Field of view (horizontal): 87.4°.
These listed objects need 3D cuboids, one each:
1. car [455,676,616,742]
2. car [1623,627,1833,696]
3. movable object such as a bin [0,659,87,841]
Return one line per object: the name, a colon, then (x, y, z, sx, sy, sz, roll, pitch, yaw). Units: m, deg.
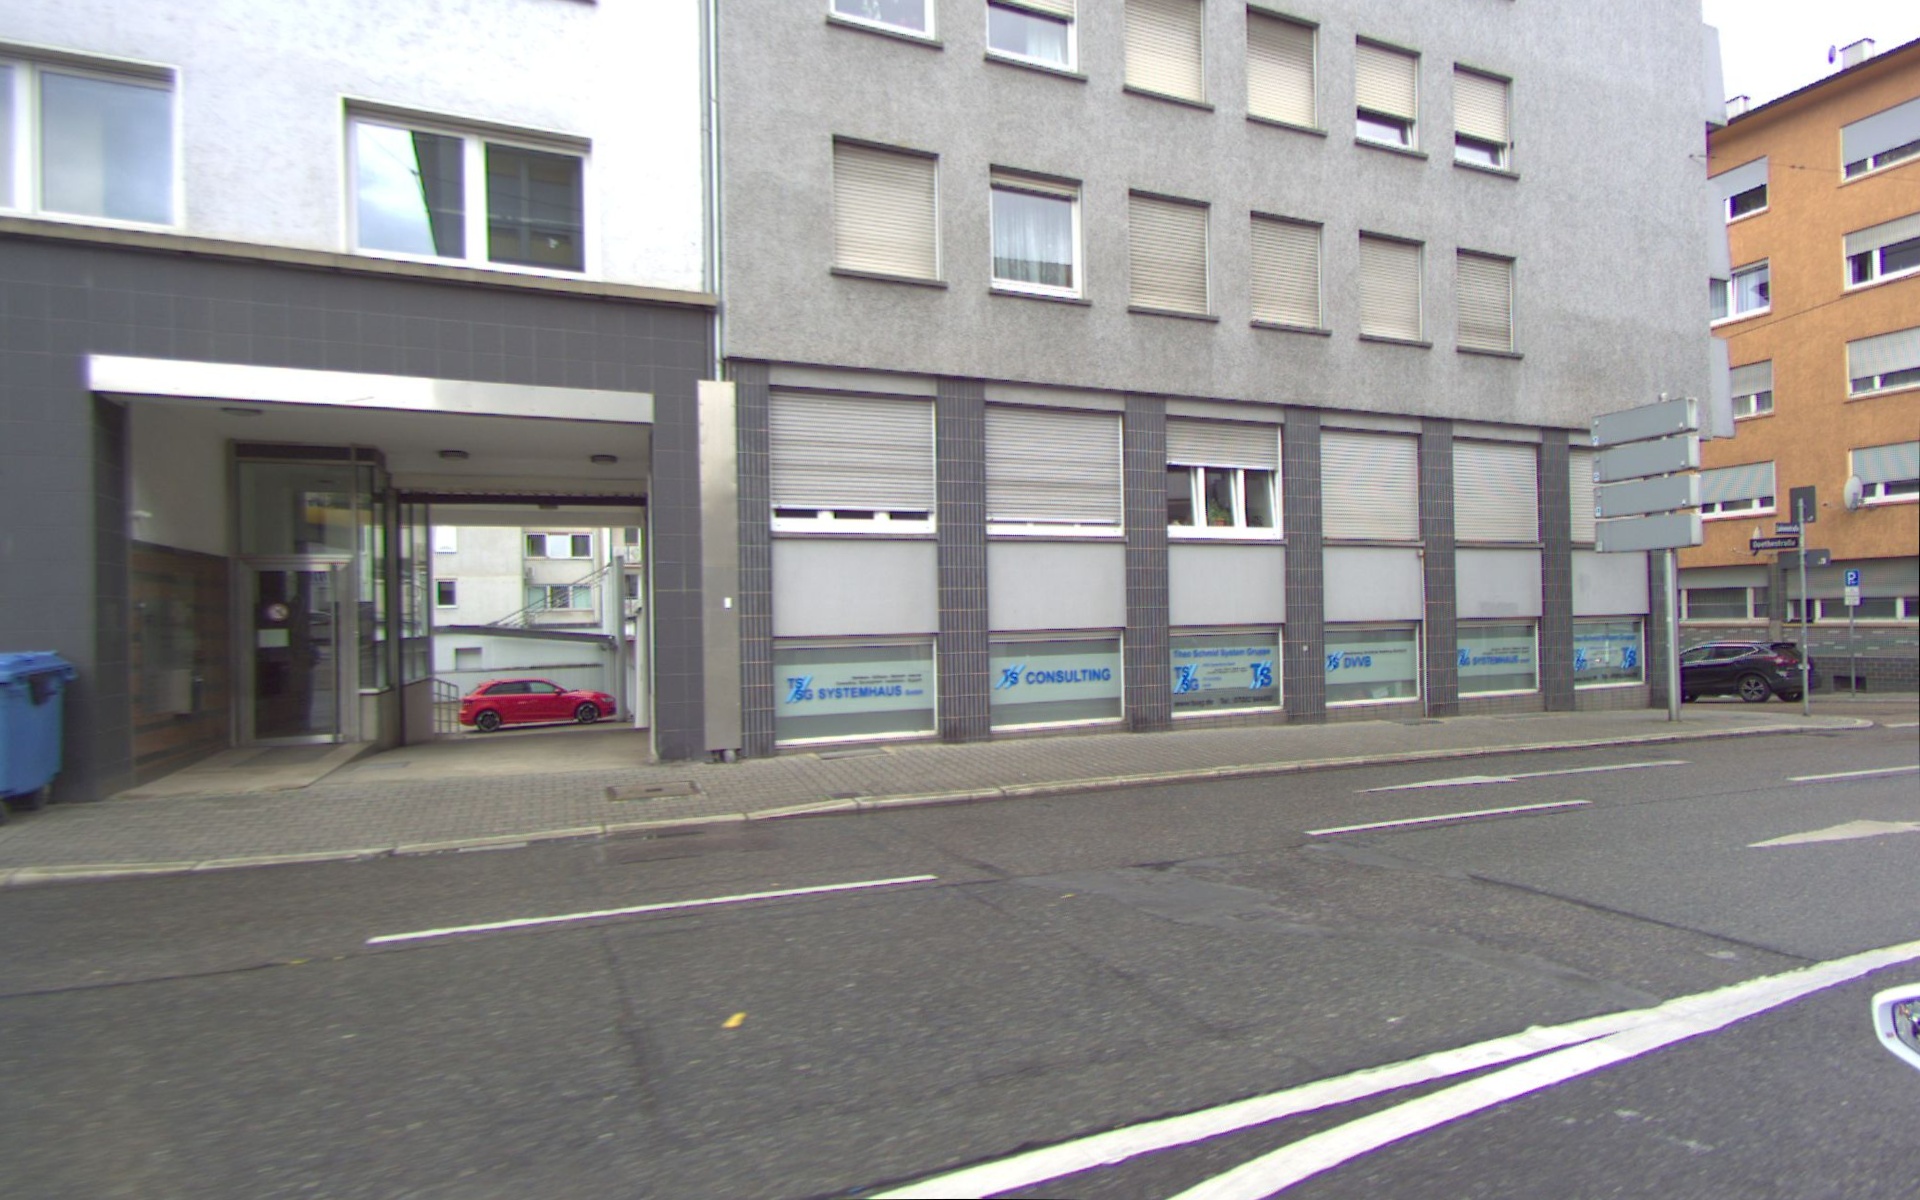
car: (-12.159, 3.103, 29.092, 4.102, 1.460, 1.992, -3, -2, -20)
car: (20.510, 1.704, 27.028, 1.902, 1.673, 3.982, 0, -5, -22)
movable object such as a bin: (-8.023, 1.195, 8.111, 1.173, 1.342, 1.074, 0, 0, -23)
